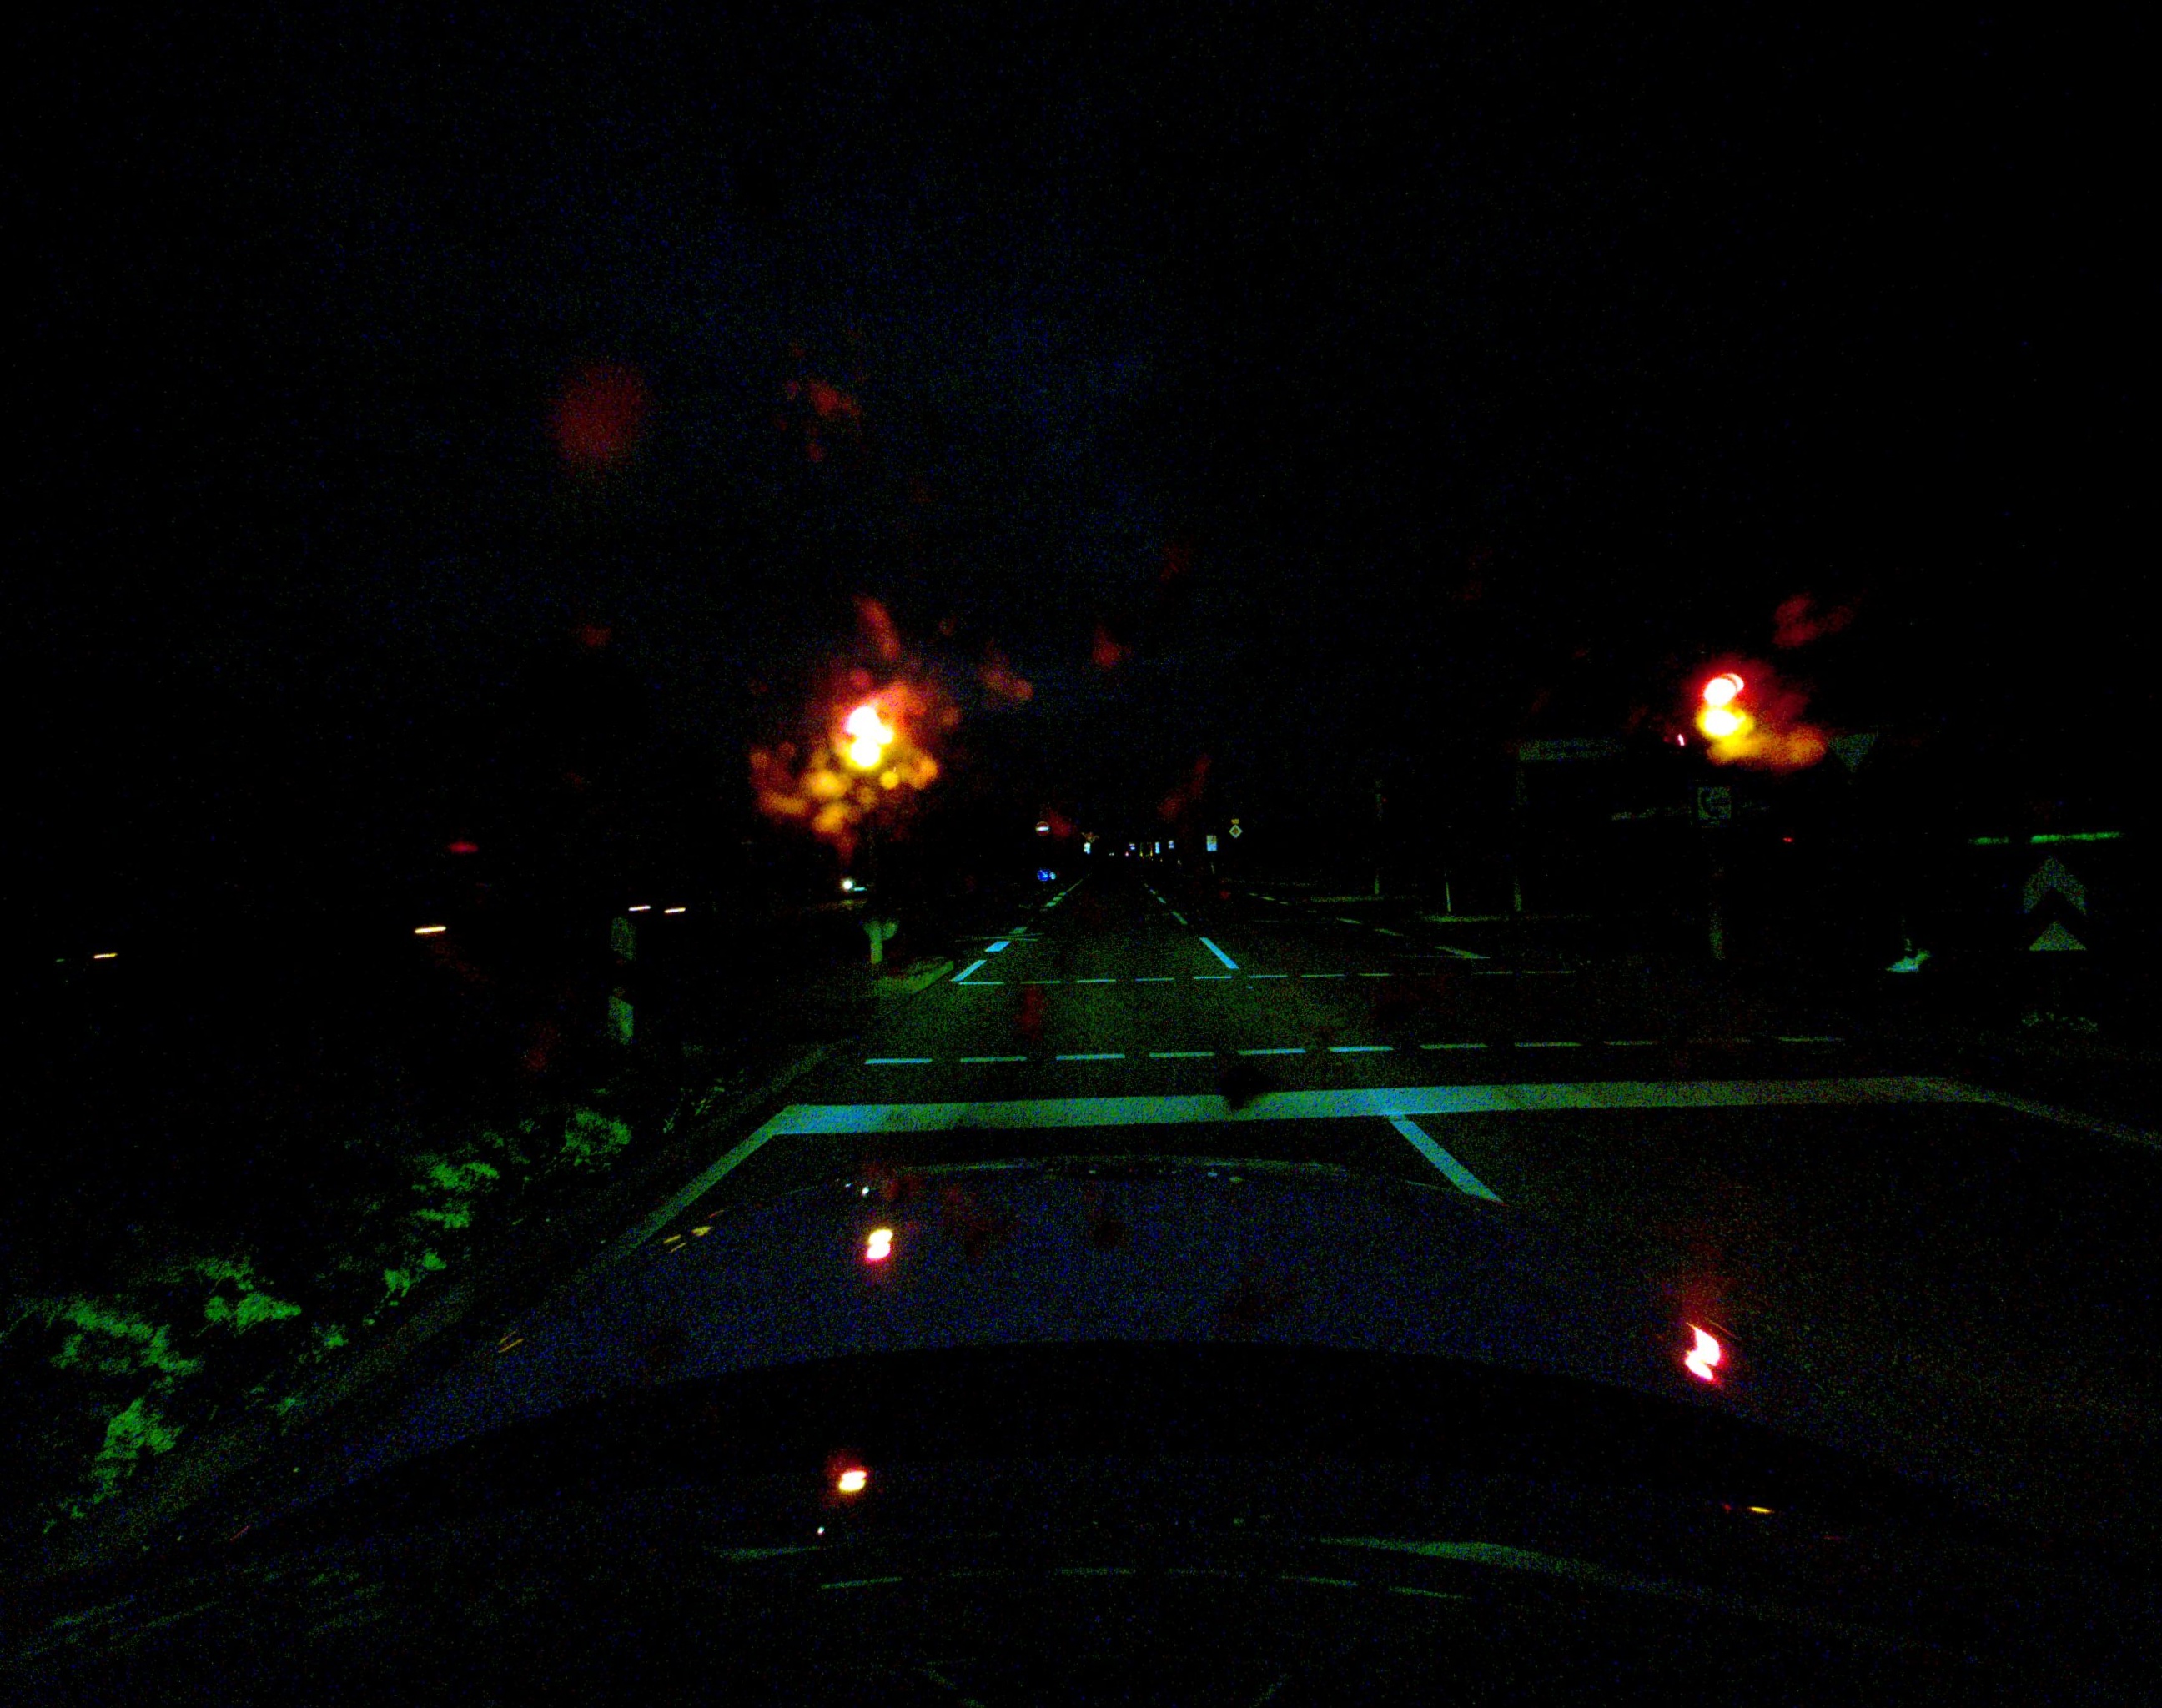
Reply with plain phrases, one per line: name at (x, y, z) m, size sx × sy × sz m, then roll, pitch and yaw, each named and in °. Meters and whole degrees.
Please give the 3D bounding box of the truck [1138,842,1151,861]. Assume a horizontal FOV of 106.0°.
truck at (13.564, -0.560, 175.059) m, size 2.569 × 4.071 × 6.135 m, roll -1°, pitch 0°, yaw 3°

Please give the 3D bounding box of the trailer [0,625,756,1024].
trailer at (-9.611, -0.356, 12.160) m, size 2.552 × 3.943 × 8.934 m, roll -3°, pitch 0°, yaw 32°

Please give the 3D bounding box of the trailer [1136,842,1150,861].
trailer at (13.791, -0.570, 181.816) m, size 2.612 × 4.104 × 12.944 m, roll -2°, pitch 0°, yaw 2°

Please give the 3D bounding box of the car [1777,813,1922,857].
car at (33.457, -0.824, 35.656) m, size 4.420 × 1.664 × 2.013 m, roll -3°, pitch 0°, yaw 39°

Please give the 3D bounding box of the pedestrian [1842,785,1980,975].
pedestrian at (9.157, 0.283, 9.015) m, size 0.775 × 2.014 × 0.714 m, roll 0°, pitch -1°, yaw 3°

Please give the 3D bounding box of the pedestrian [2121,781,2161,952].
pedestrian at (13.063, 0.148, 9.755) m, size 0.784 × 2.014 × 0.706 m, roll 0°, pitch -1°, yaw -37°

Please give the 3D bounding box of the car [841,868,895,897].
car at (-10.971, 1.440, 42.182) m, size 1.646 × 1.384 × 4.031 m, roll 0°, pitch -1°, yaw 1°
